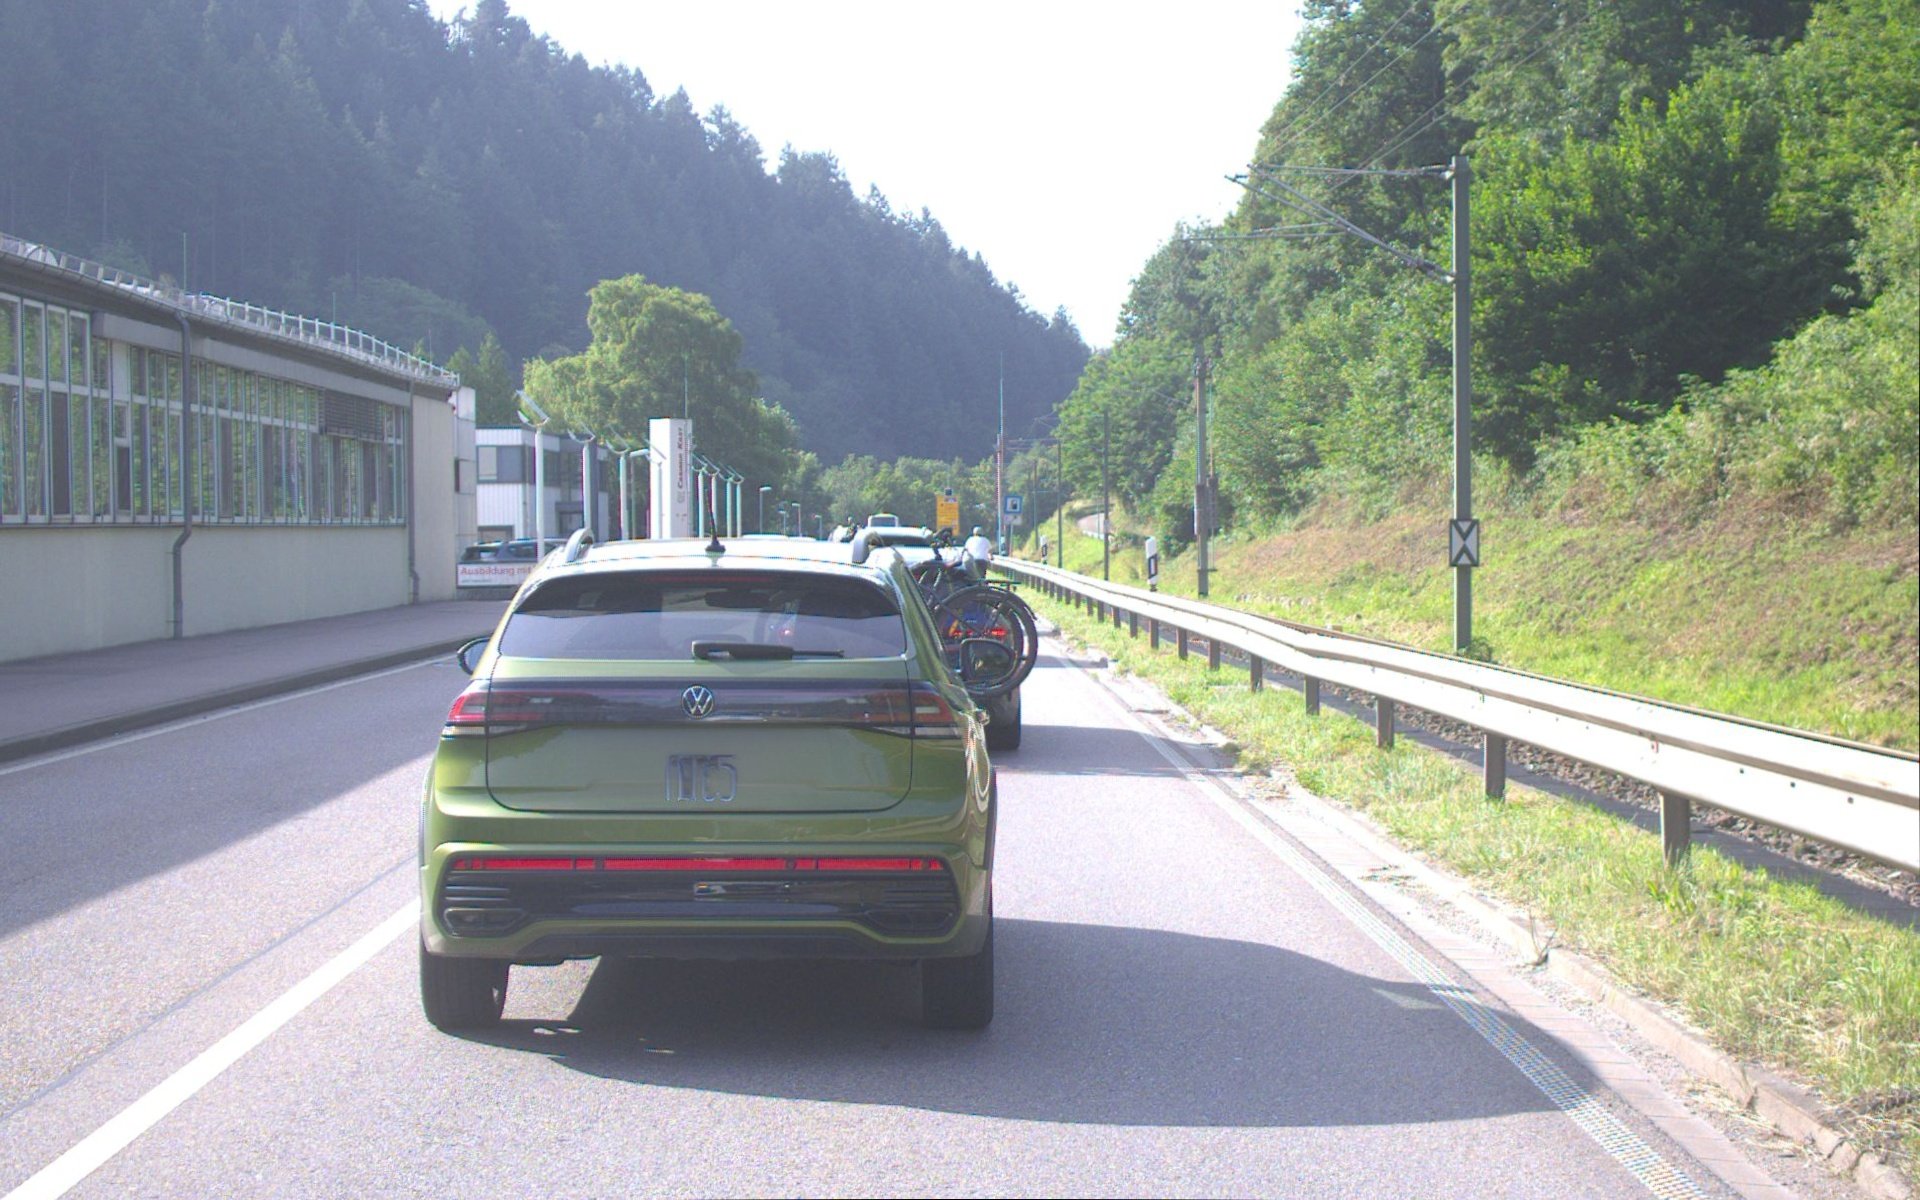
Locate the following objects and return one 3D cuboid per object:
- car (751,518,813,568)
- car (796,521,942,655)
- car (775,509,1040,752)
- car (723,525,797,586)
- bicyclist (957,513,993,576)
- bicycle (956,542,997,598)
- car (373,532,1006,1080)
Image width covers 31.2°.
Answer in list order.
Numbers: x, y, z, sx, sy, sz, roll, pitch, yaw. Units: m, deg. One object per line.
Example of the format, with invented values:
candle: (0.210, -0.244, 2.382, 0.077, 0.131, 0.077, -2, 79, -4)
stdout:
car: (-5.546, -1.792, 107.426, 1.773, 1.485, 4.052, 1, 1, -1)
car: (-1.146, -0.183, 43.026, 1.739, 1.596, 4.000, 0, 1, -2)
car: (-0.401, 0.160, 24.601, 1.739, 1.596, 4.000, 0, 1, -2)
car: (-5.173, -1.176, 89.270, 1.719, 1.509, 4.199, 1, 1, -1)
bicyclist: (0.341, -1.254, 77.526, 0.781, 1.407, 0.675, 0, 1, -3)
bicycle: (0.360, -0.682, 77.559, 0.811, 1.246, 2.123, 0, 1, -3)
car: (-0.799, 0.526, 11.467, 1.739, 1.503, 4.000, 0, 1, -2)
